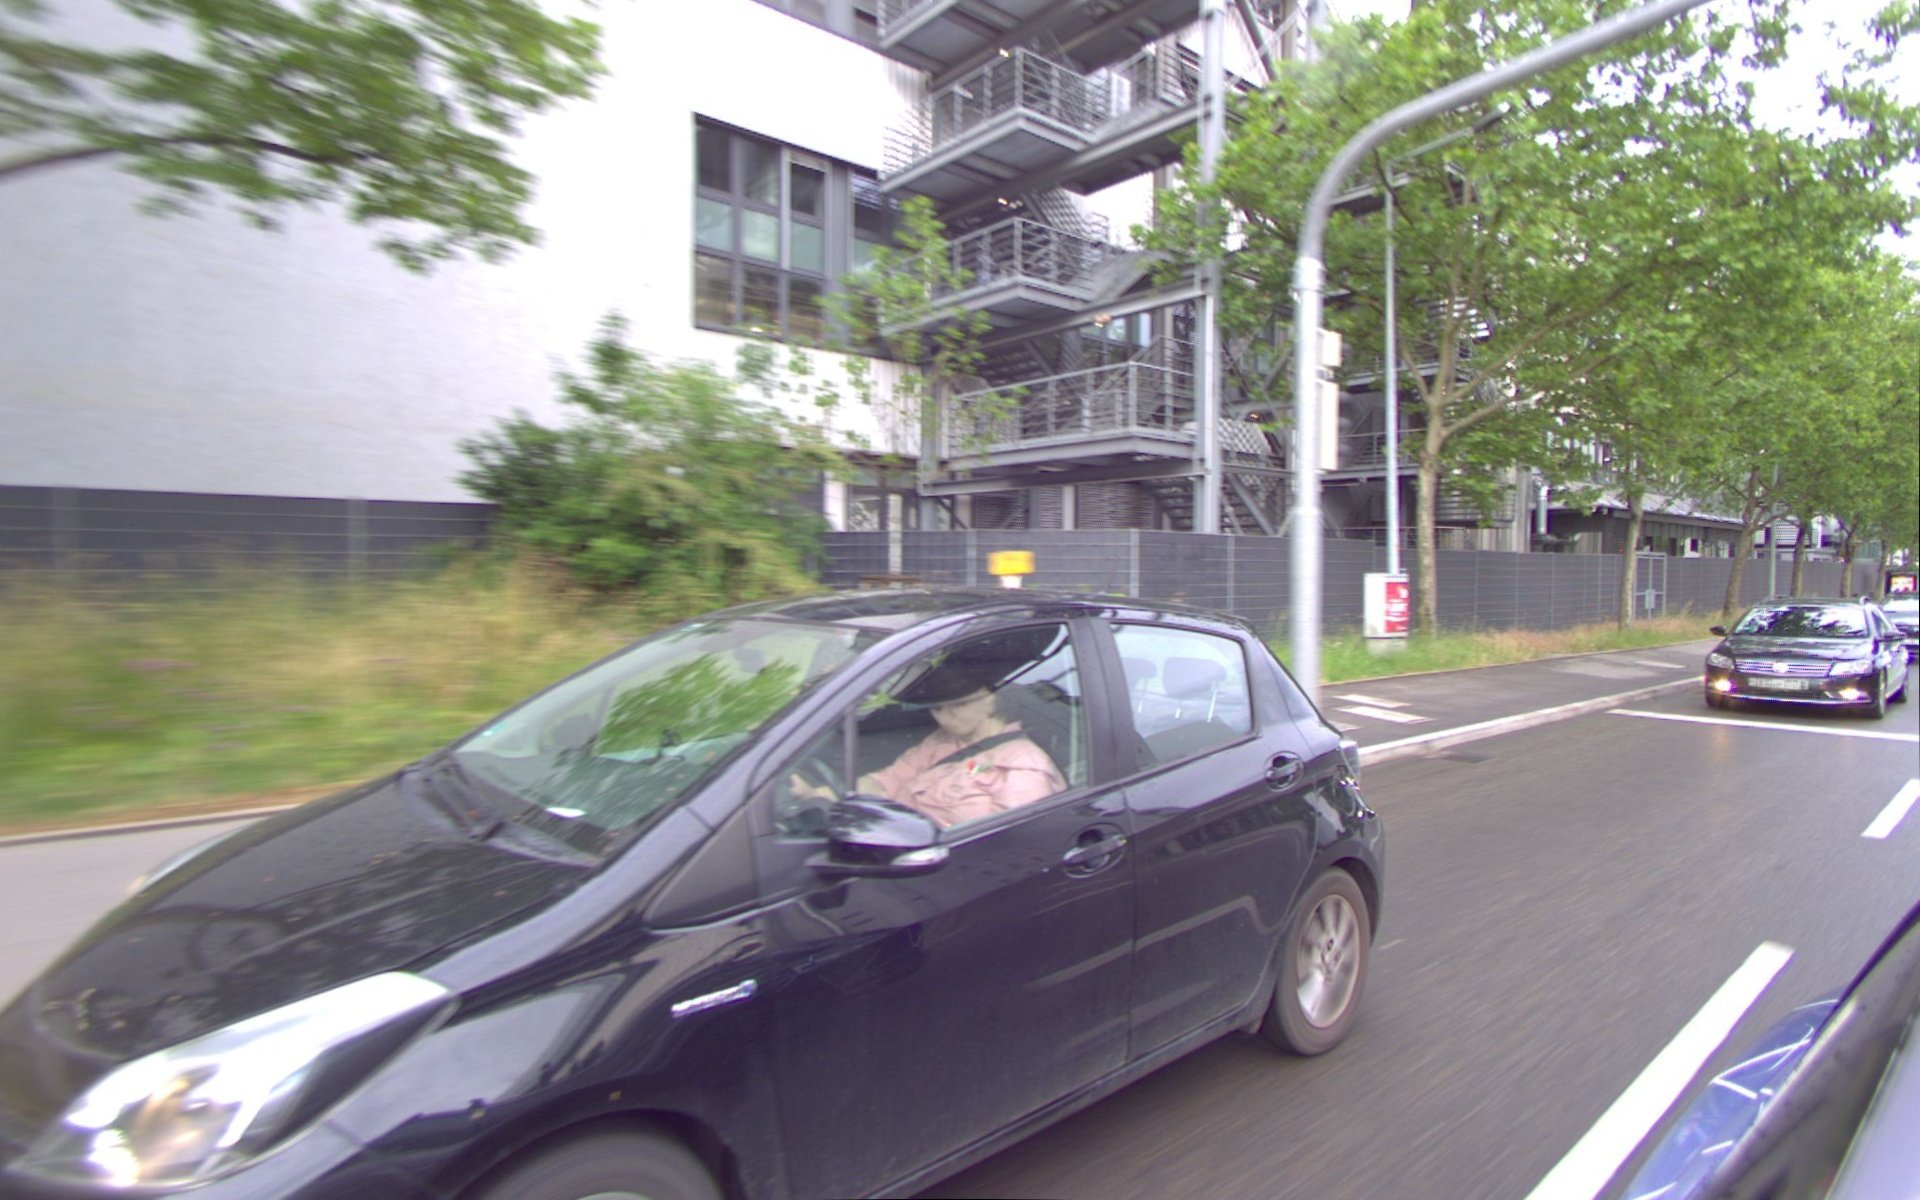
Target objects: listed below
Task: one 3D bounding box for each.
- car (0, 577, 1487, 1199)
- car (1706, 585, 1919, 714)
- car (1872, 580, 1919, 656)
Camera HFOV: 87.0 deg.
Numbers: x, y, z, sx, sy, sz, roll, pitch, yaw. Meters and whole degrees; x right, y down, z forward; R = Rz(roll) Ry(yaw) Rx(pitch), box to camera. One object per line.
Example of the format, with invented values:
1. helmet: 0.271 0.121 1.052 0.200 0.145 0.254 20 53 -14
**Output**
1. car: -0.235 0.684 3.054 4.561 1.488 1.747 -1 1 -42
2. car: 11.671 0.534 13.626 4.439 1.448 1.747 -1 1 -42
3. car: 22.148 0.370 22.878 4.258 1.610 1.824 -1 2 -42
